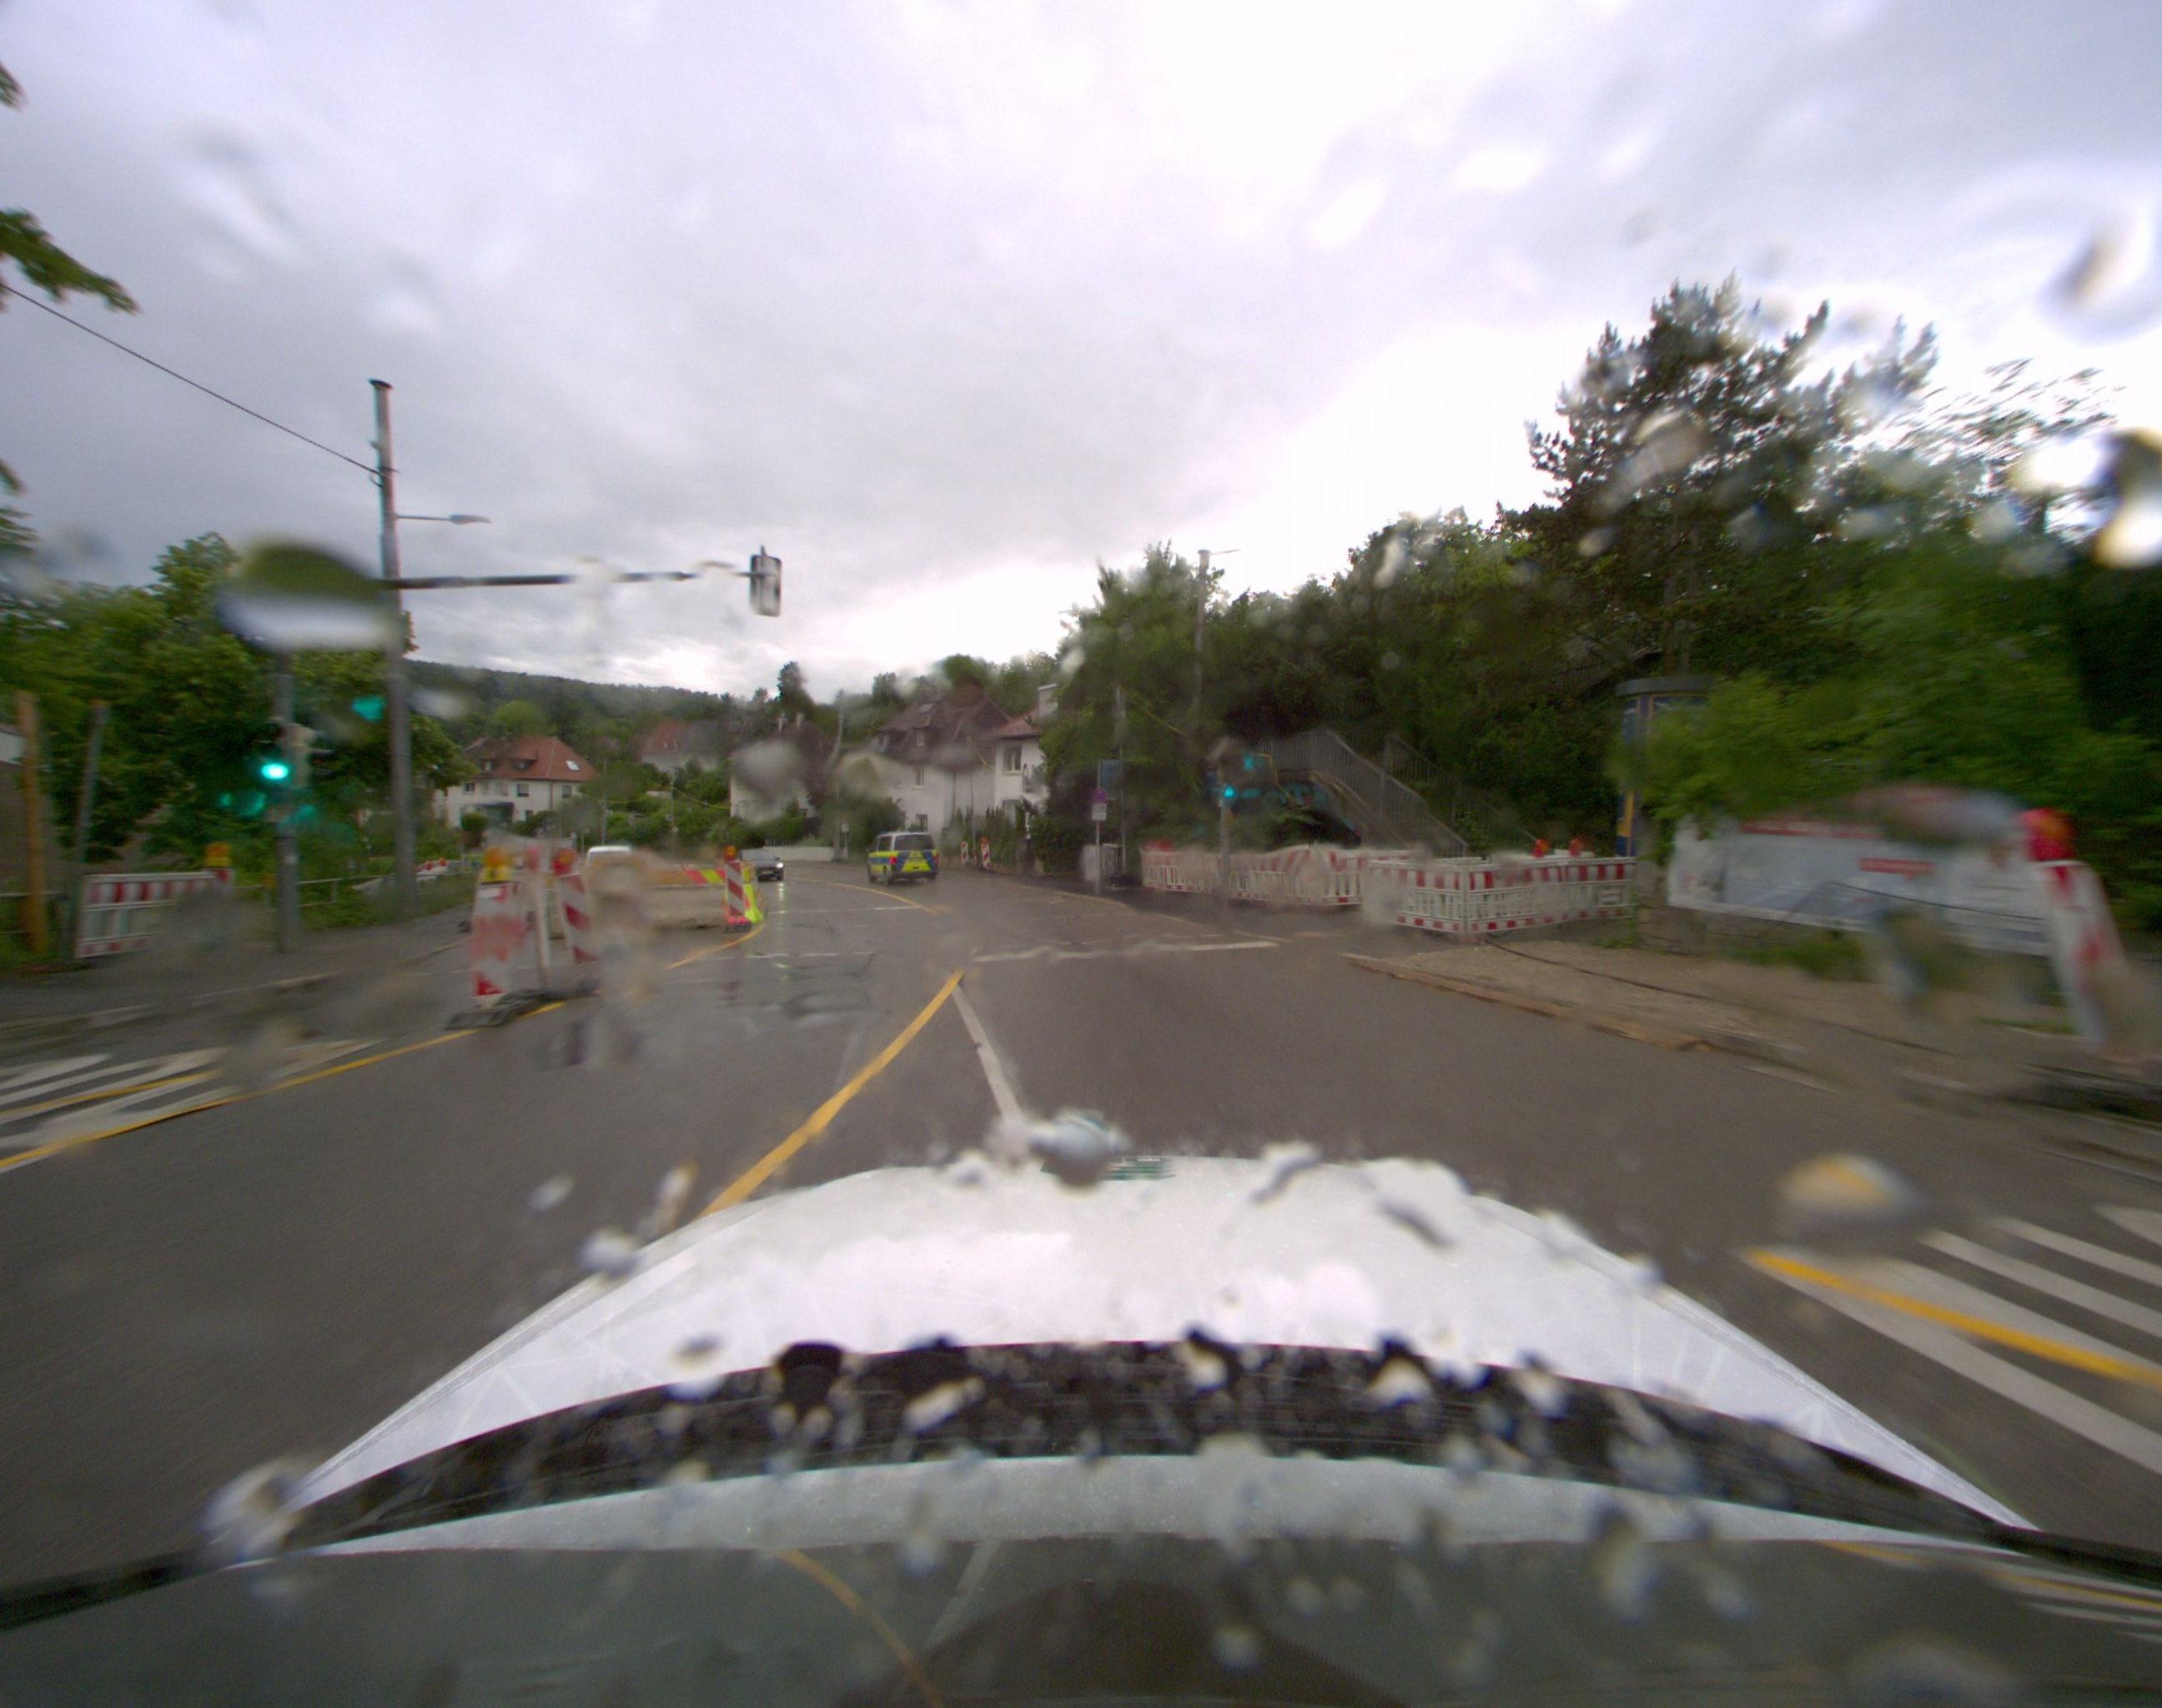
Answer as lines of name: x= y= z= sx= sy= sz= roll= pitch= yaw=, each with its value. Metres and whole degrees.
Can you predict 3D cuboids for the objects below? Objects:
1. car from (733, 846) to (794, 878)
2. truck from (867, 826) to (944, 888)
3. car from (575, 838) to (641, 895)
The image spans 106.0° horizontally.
car: x=-15.176 y=0.315 z=38.777 sx=1.797 sy=1.403 sz=4.320 roll=-1 pitch=1 yaw=-34
truck: x=-6.919 y=0.021 z=31.754 sx=2.003 sy=2.012 sz=4.699 roll=-2 pitch=5 yaw=-24
car: x=-18.825 y=0.452 z=32.532 sx=2.005 sy=2.014 sz=4.762 roll=4 pitch=-1 yaw=-29
